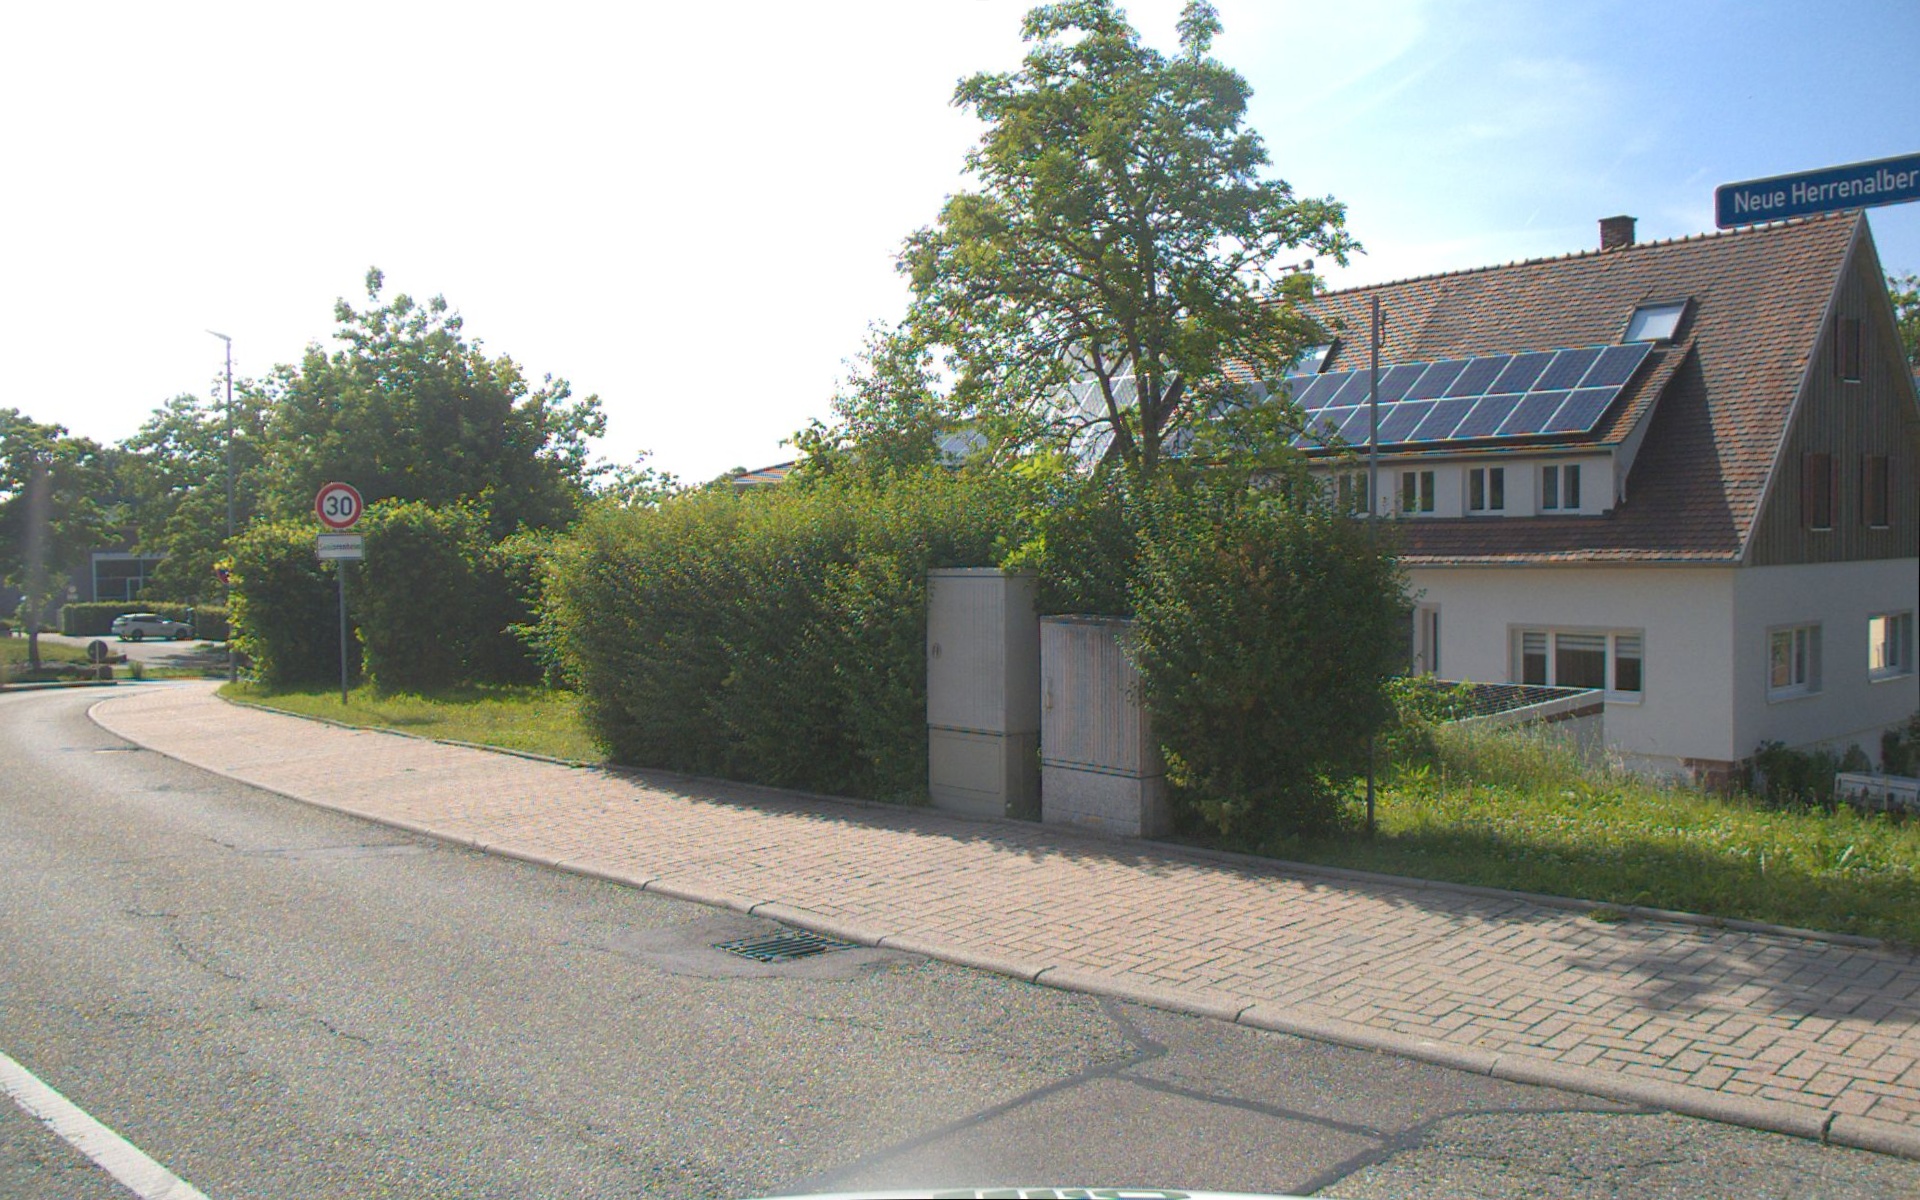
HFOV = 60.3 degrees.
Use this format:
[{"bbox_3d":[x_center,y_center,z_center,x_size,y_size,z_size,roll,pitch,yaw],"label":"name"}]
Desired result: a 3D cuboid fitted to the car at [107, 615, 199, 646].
[{"bbox_3d":[-49.318,1.833,101.148,1.963,1.560,4.708,4,4,39],"label":"car"}]
